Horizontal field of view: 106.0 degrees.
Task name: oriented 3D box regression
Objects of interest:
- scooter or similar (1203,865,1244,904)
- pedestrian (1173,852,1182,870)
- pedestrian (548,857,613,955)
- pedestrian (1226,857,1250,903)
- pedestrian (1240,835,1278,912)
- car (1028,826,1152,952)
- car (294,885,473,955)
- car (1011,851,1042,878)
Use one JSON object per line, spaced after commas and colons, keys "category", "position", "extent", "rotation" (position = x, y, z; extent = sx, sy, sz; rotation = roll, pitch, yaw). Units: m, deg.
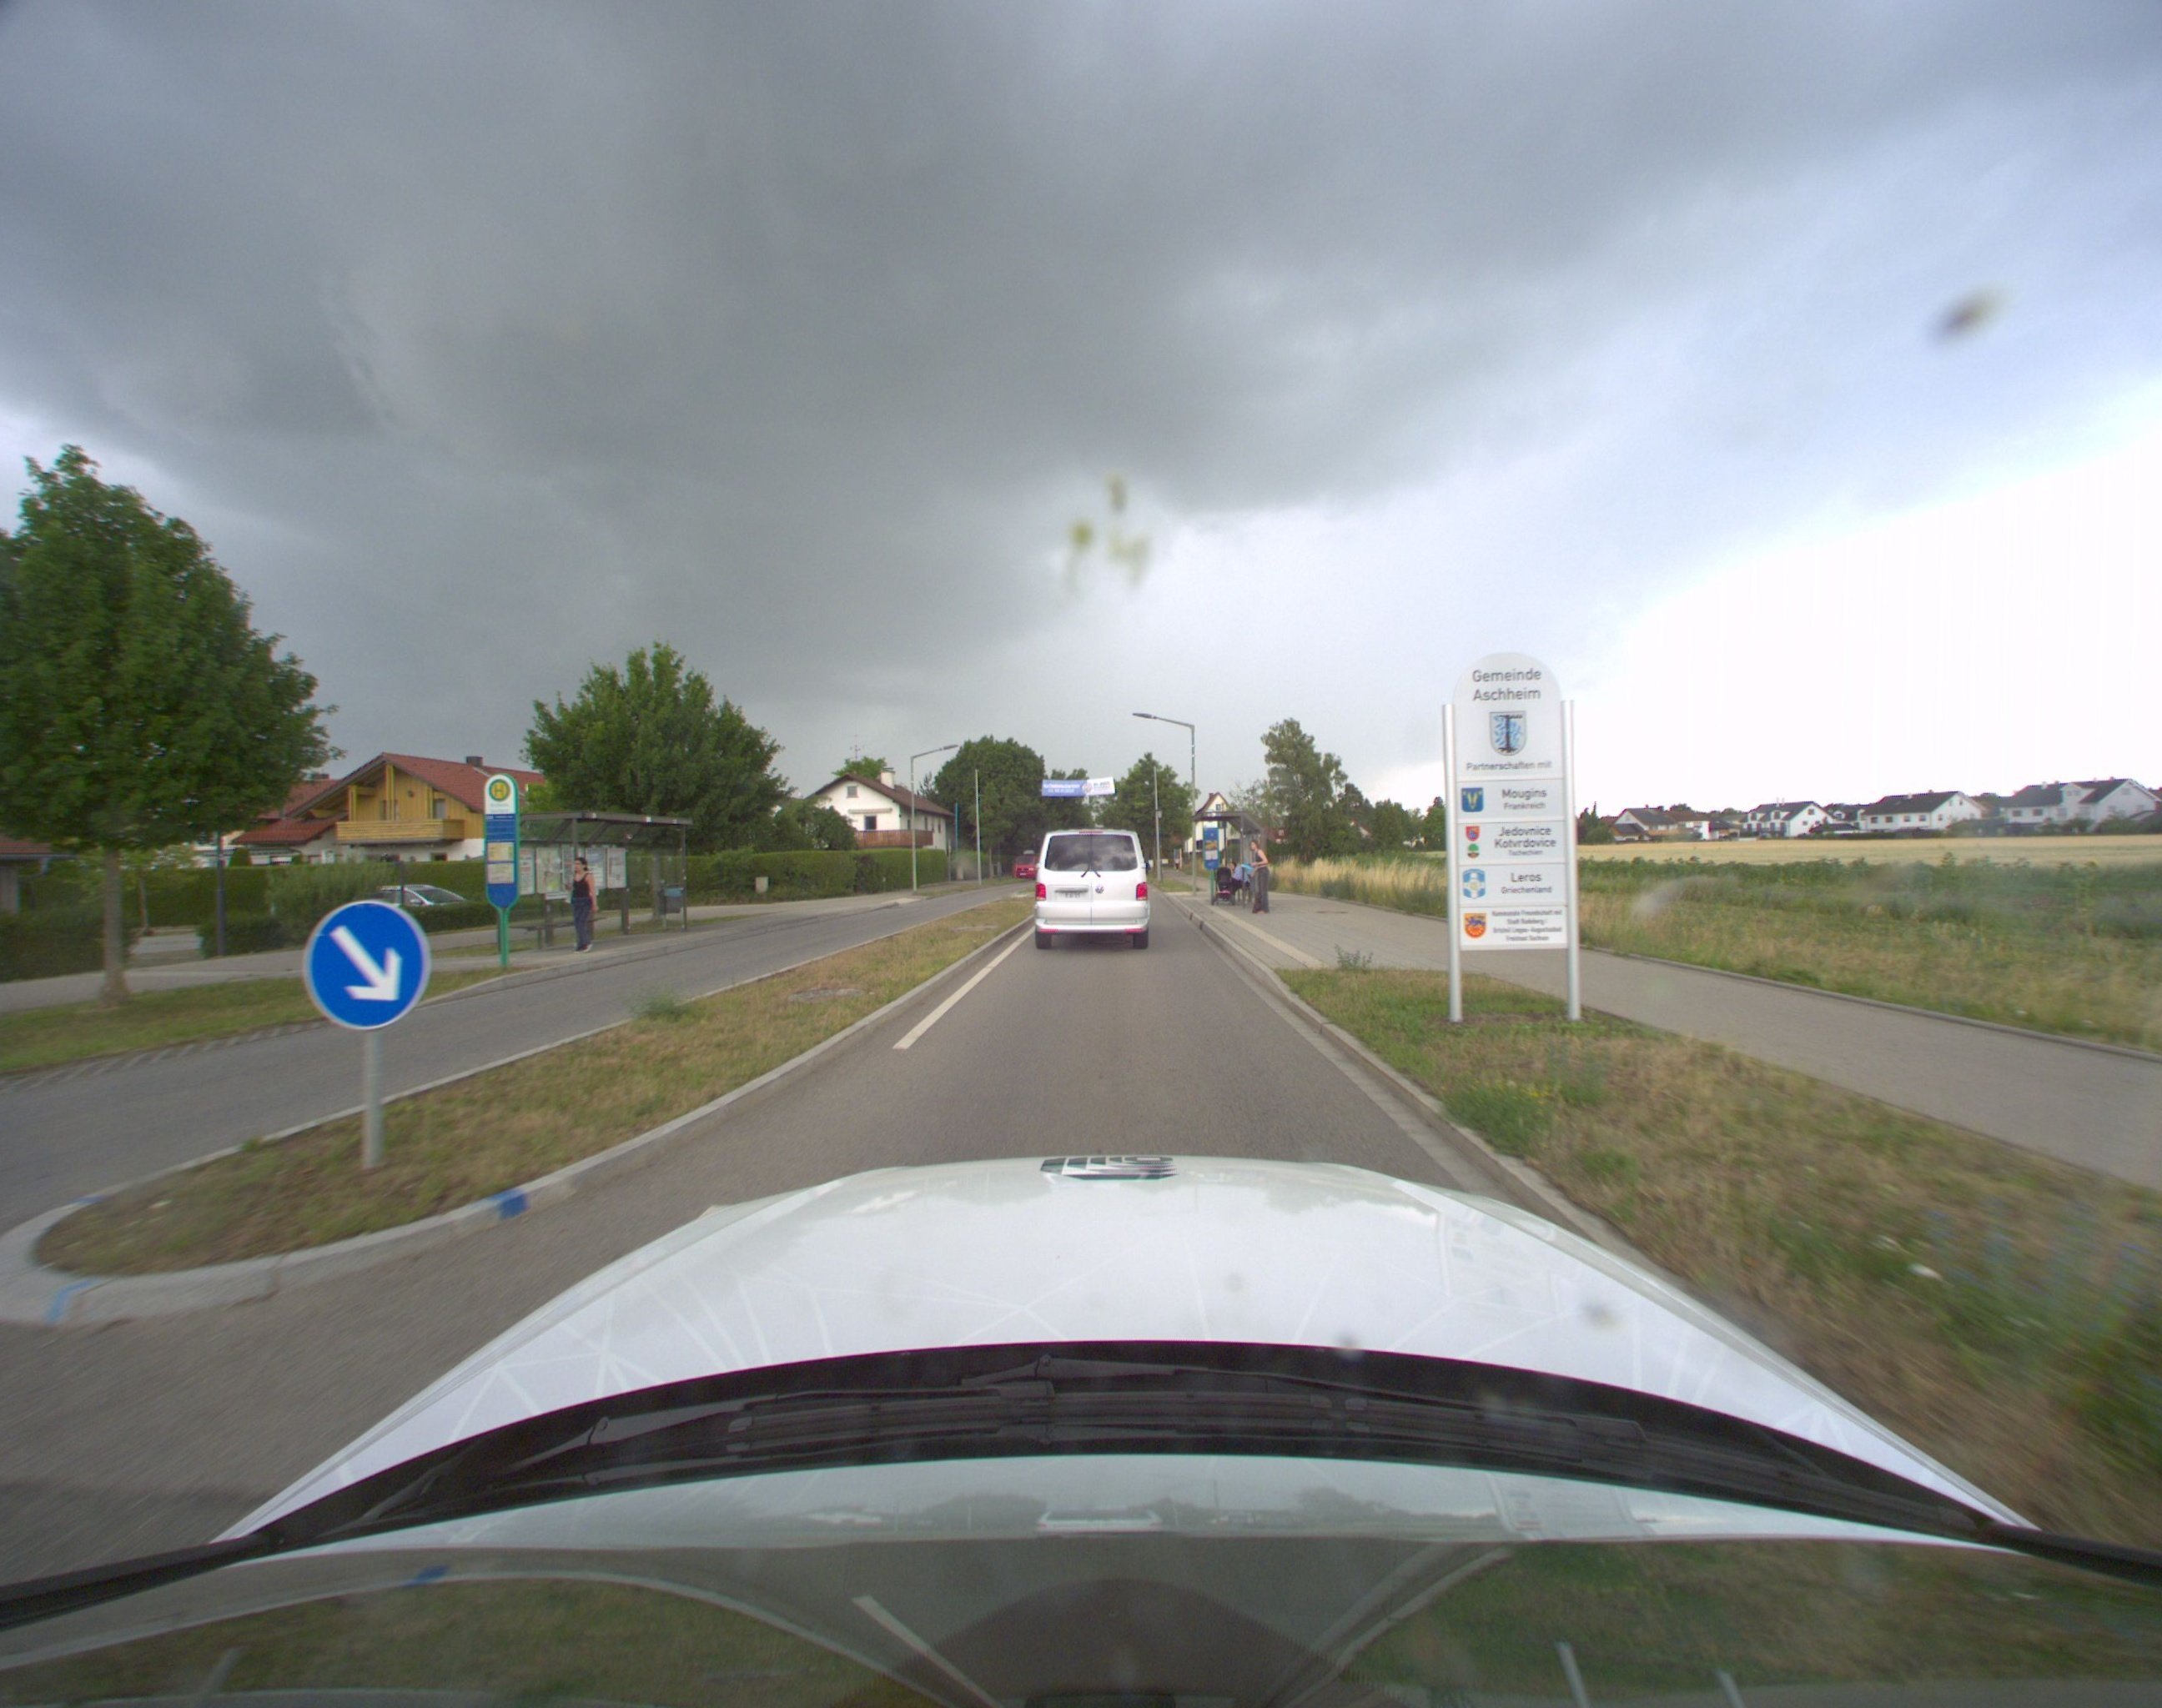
{"category": "scooter or similar", "position": [3.984, 0.841, 22.673], "extent": [0.699, 1.062, 1.066], "rotation": [-1, -1, 39]}
{"category": "pedestrian", "position": [9.739, 0.698, 82.283], "extent": [0.833, 1.755, 0.871], "rotation": [-1, -1, 7]}
{"category": "pedestrian", "position": [-8.717, 0.884, 14.219], "extent": [0.586, 1.636, 0.813], "rotation": [-1, 0, 1]}
{"category": "pedestrian", "position": [4.454, 0.730, 23.128], "extent": [0.660, 1.302, 0.506], "rotation": [0, -1, 11]}
{"category": "pedestrian", "position": [4.274, 0.461, 19.513], "extent": [0.774, 1.792, 0.783], "rotation": [0, -1, 19]}
{"category": "car", "position": [0.196, 0.566, 14.523], "extent": [1.881, 1.912, 4.001], "rotation": [-1, -1, 2]}
{"category": "car", "position": [-22.359, 2.089, 26.240], "extent": [3.974, 2.013, 2.000], "rotation": [-1, 0, 0]}
{"category": "car", "position": [-4.285, 0.822, 64.942], "extent": [1.822, 2.030, 5.049], "rotation": [0, 0, 3]}
